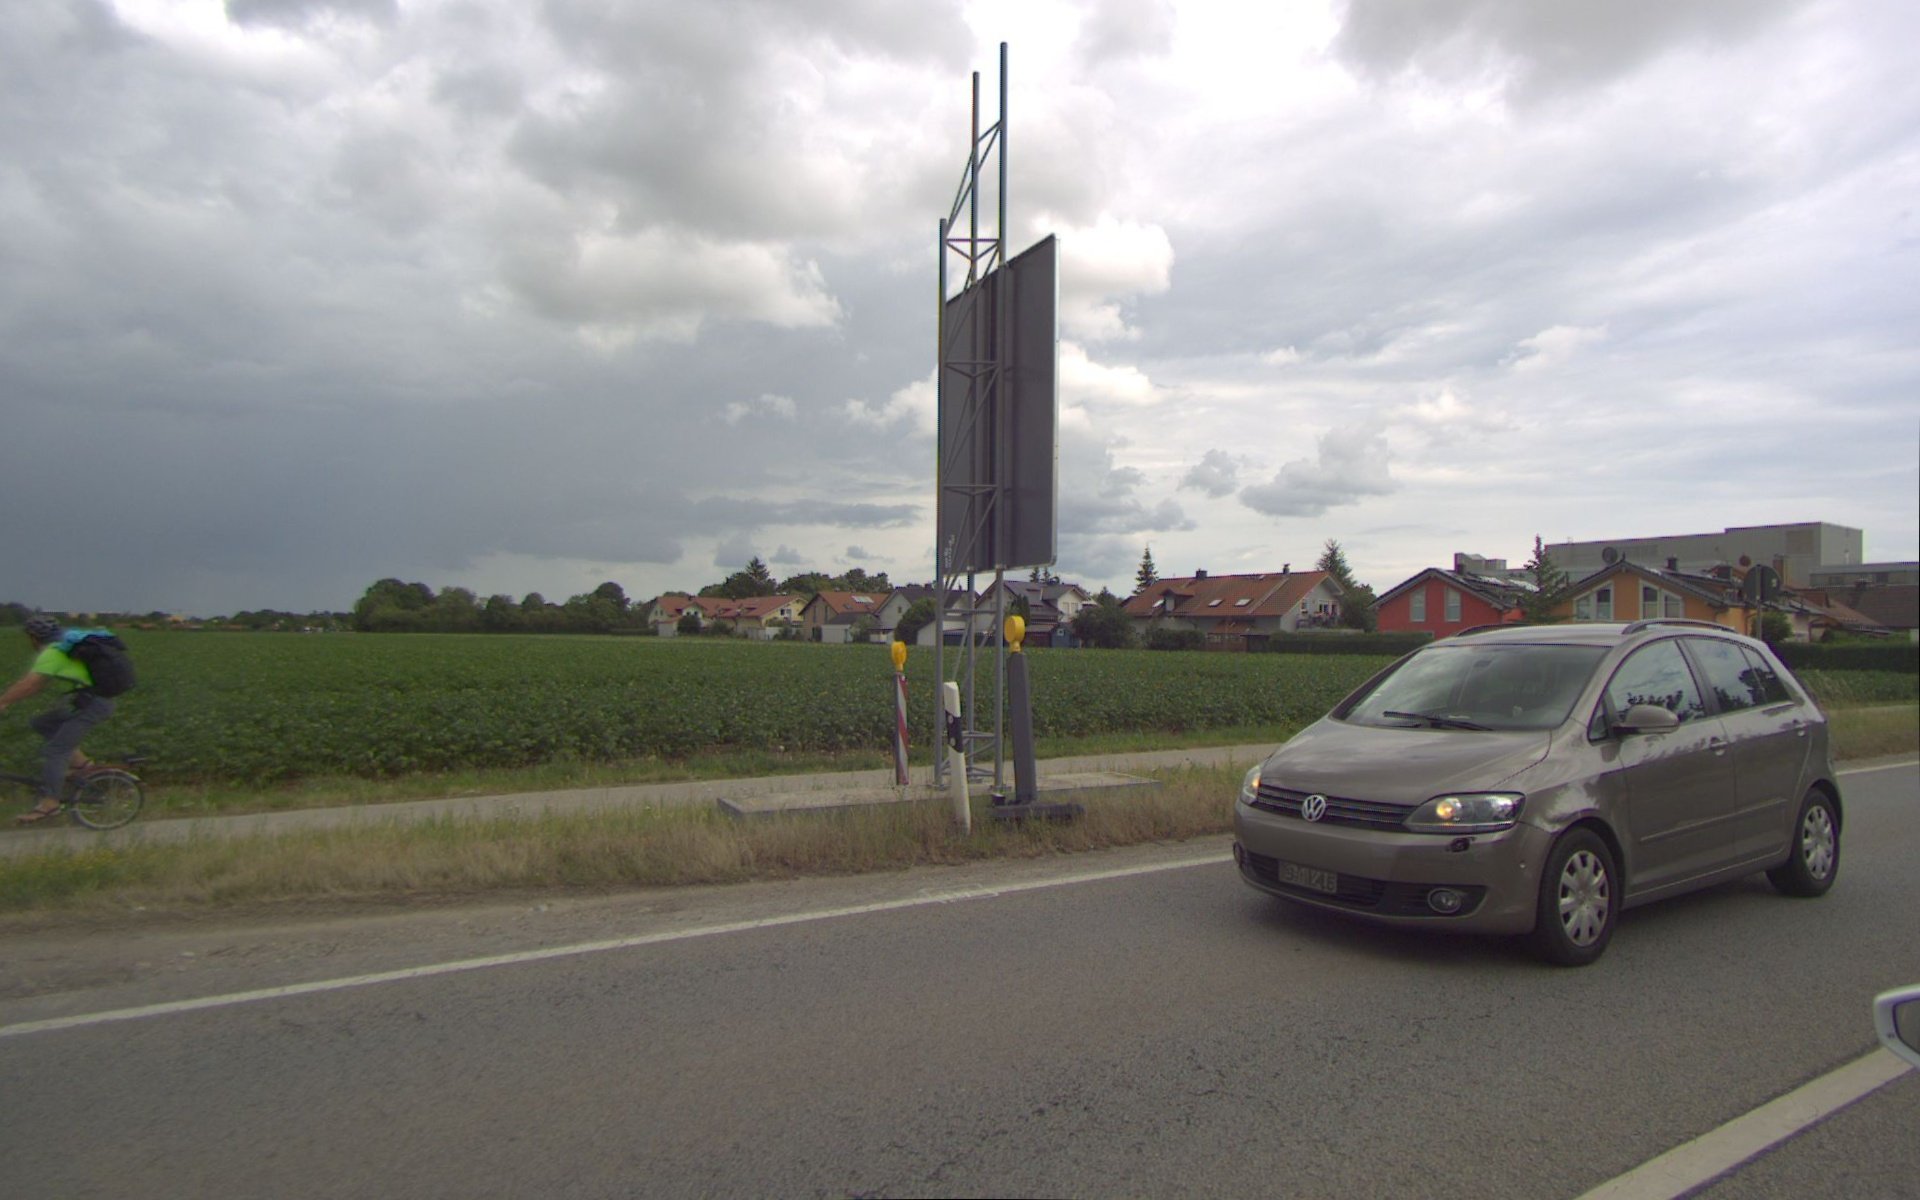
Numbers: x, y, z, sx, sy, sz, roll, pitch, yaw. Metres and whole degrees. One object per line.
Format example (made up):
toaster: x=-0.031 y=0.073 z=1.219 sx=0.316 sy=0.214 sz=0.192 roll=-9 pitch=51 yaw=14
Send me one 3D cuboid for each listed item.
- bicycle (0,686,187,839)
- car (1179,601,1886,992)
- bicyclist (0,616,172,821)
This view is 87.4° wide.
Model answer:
bicycle: x=-7.501 y=1.307 z=8.215 sx=1.774 sy=1.171 sz=0.527 roll=2 pitch=-4 yaw=-31
car: x=3.454 y=0.884 z=5.863 sx=4.251 sy=1.560 sz=1.696 roll=2 pitch=-3 yaw=-31
bicyclist: x=-7.365 y=0.953 z=8.310 sx=1.209 sy=1.605 sz=0.527 roll=2 pitch=-3 yaw=-31
